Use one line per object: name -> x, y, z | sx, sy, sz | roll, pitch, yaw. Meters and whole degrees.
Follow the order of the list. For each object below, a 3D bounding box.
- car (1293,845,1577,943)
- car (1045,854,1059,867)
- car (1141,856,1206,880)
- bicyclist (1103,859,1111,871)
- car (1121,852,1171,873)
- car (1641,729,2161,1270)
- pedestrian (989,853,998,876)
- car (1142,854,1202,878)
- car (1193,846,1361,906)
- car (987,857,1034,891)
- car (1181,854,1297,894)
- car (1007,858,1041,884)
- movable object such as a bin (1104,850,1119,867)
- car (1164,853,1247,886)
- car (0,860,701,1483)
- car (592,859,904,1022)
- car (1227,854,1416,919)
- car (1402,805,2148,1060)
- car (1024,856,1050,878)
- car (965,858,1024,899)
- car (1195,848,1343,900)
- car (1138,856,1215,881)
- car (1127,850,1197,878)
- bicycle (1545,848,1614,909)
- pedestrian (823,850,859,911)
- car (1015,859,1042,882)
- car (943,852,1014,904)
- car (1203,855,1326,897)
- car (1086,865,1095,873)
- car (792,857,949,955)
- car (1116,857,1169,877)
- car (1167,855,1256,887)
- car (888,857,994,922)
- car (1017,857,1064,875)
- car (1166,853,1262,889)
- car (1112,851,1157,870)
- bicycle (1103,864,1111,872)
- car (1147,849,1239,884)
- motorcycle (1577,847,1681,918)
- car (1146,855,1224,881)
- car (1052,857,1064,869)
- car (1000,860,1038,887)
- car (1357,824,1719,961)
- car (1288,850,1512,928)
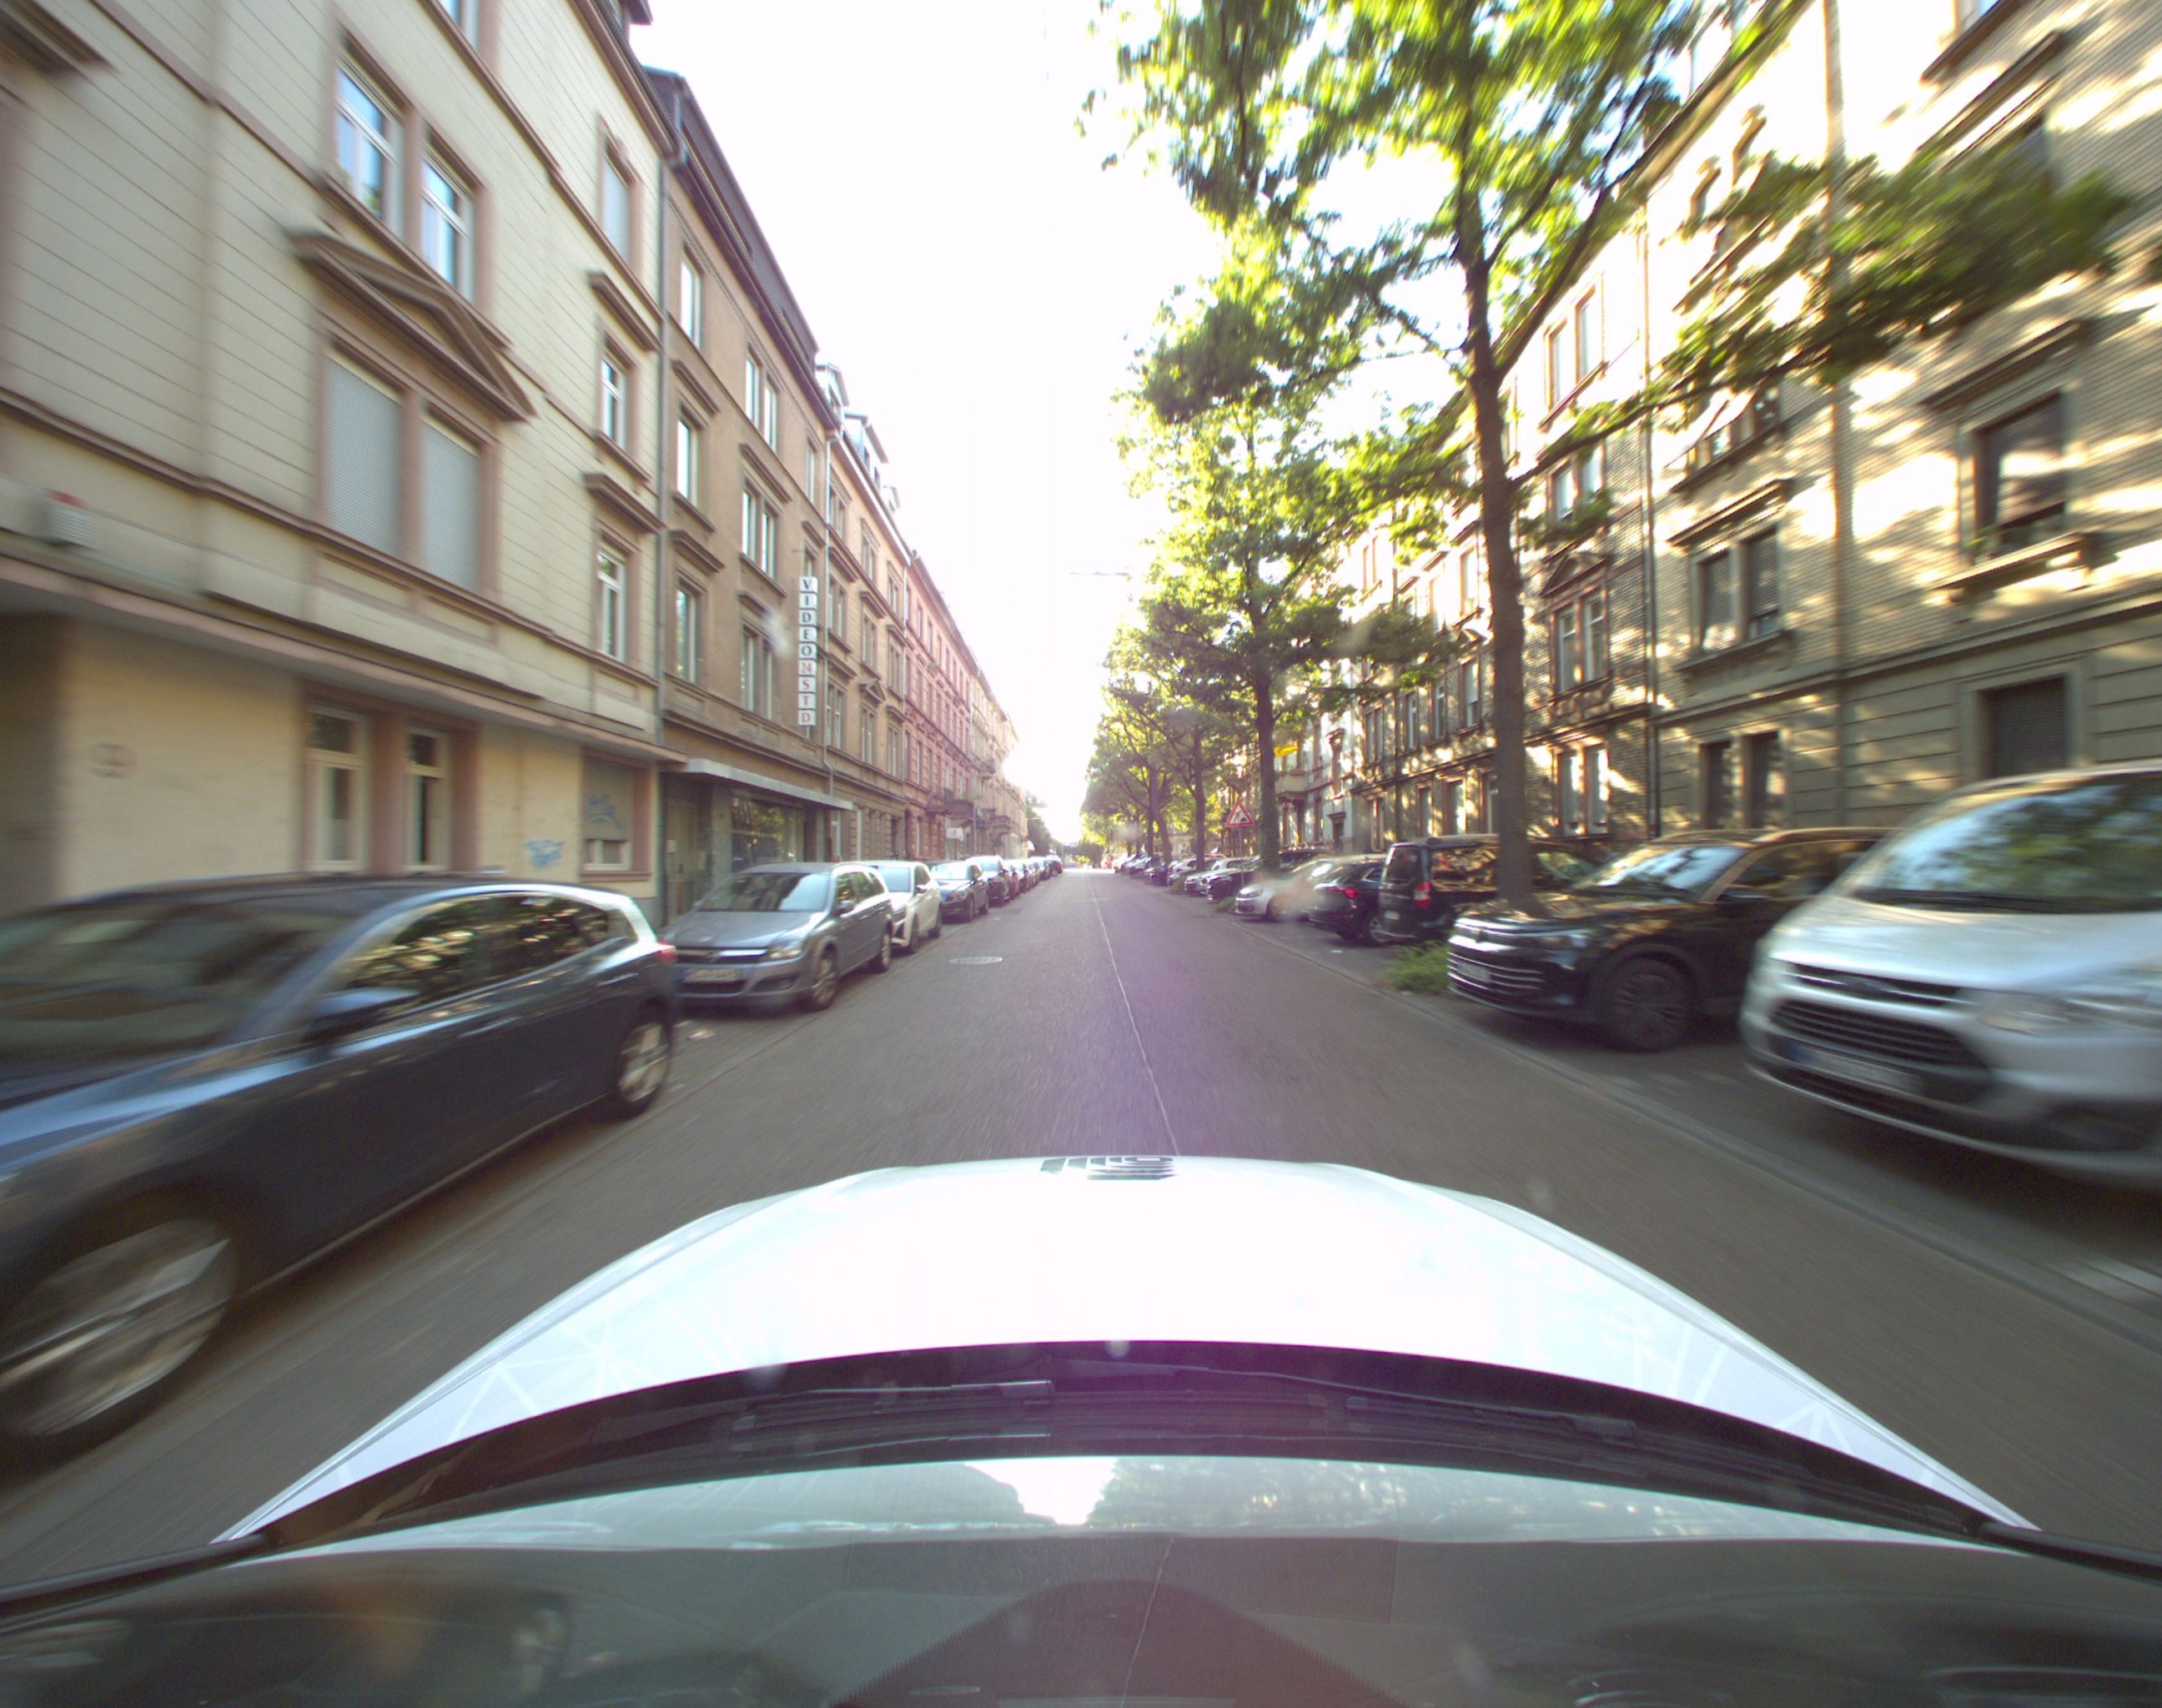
car -> 6.065, 0.653, 14.323 | 4.133, 1.455, 1.936 | -2, 0, -2
car -> -3.499, 0.789, 98.812 | 1.760, 1.437, 4.298 | 0, 0, -2
car -> 6.149, 0.913, 54.499 | 4.098, 1.503, 1.808 | 0, 0, -5
bicyclist -> 3.163, 1.320, 99.050 | 0.801, 1.383, 0.985 | 1, -1, -1
car -> 6.319, 0.814, 79.136 | 4.604, 2.014, 1.998 | 0, 0, -3
car -> 6.023, 0.396, 4.139 | 4.909, 1.901, 2.173 | -3, 0, -4
pedestrian -> -7.493, 0.891, 69.689 | 0.639, 1.888, 0.589 | 0, -1, -16
car -> 6.334, 0.817, 56.948 | 3.878, 1.649, 1.722 | 0, 0, -5
car -> 5.572, 0.646, 23.640 | 4.459, 1.656, 1.892 | 0, -2, 1
car -> -3.261, 0.906, 38.480 | 1.815, 1.477, 4.422 | 1, 0, 0
car -> 6.160, 0.755, 32.077 | 4.213, 1.536, 1.799 | 0, 0, -3
car -> -3.296, 0.968, 48.033 | 1.700, 1.439, 3.958 | 0, 0, 0
movable object such as a bin -> 4.952, 0.729, 132.087 | 1.980, 2.699, 3.121 | 0, -1, 13
car -> 6.375, 0.780, 41.954 | 3.978, 1.590, 1.780 | -1, 0, -4
car -> -3.472, 0.777, 3.468 | 1.741, 1.473, 4.243 | 0, 0, -1
car -> -3.470, 0.787, 9.574 | 1.881, 1.444, 4.539 | 0, 0, -2
car -> 5.572, 0.729, 19.189 | 3.973, 1.456, 1.687 | 0, 0, 0
car -> 5.707, 0.563, 7.163 | 4.909, 1.632, 2.076 | -3, 0, -4
car -> -3.185, 0.907, 59.472 | 1.642, 1.473, 3.999 | 2, 0, 0
car -> -3.329, 0.912, 31.934 | 1.815, 1.426, 4.313 | 1, 0, 0
car -> 6.137, 0.657, 26.915 | 4.463, 1.656, 1.890 | 0, -2, -2
car -> 6.104, 0.930, 52.323 | 4.649, 1.503, 1.930 | 0, 0, -4
car -> 6.055, 0.769, 61.523 | 5.075, 1.940, 2.157 | 0, -4, 0
bicycle -> 11.253, 0.536, 18.453 | 0.367, 1.319, 1.883 | 0, 0, -1
pedestrian -> -6.493, 0.704, 22.040 | 0.693, 1.631, 1.018 | 0, 0, -1
car -> -3.479, 1.062, 54.586 | 1.577, 1.473, 3.999 | 0, 0, 0
car -> -3.334, 0.751, 27.337 | 1.815, 1.600, 4.313 | 1, 0, 0
car -> 6.608, 0.774, 29.603 | 4.086, 1.470, 1.801 | 0, 0, 1
car -> 1.802, 2.823, 156.463 | 1.743, 1.509, 3.999 | 0, 0, 0
car -> -3.507, 0.789, 14.325 | 1.752, 1.472, 4.086 | 0, 0, -1
car -> 4.903, 1.023, 65.313 | 3.984, 1.475, 1.777 | -2, 0, -8
car -> 6.273, 0.803, 39.357 | 3.978, 1.462, 1.780 | -1, 0, -4
car -> -3.420, 0.808, 20.789 | 1.856, 1.472, 4.489 | 0, 0, 1
car -> -3.546, 1.024, 70.309 | 3.982, 1.529, 1.822 | -1, 0, -6
car -> 5.924, 0.757, 36.643 | 3.975, 1.388, 1.677 | -3, 0, -1
car -> 5.960, 0.785, 91.915 | 4.958, 2.096, 2.105 | 0, -1, -1
bicycle -> 3.156, 1.663, 99.176 | 0.800, 0.968, 2.108 | 1, -1, 0
car -> 6.024, 0.682, 44.255 | 4.635, 1.702, 1.879 | -2, 0, -4
motorcycle -> 10.783, 0.539, 16.116 | 0.760, 1.319, 1.883 | 0, 0, -1
car -> 6.263, 0.844, 49.328 | 4.536, 1.529, 2.000 | 0, 0, 1
car -> -3.255, 1.262, 114.360 | 1.665, 1.530, 3.996 | 0, -1, -2
car -> -3.263, 1.011, 43.355 | 1.699, 1.323, 4.101 | 0, 0, 0
car -> 6.330, 0.512, 11.676 | 4.109, 1.788, 1.946 | 0, 0, 1
car -> 6.488, 0.683, 16.819 | 3.978, 1.495, 1.685 | 0, 0, -3
